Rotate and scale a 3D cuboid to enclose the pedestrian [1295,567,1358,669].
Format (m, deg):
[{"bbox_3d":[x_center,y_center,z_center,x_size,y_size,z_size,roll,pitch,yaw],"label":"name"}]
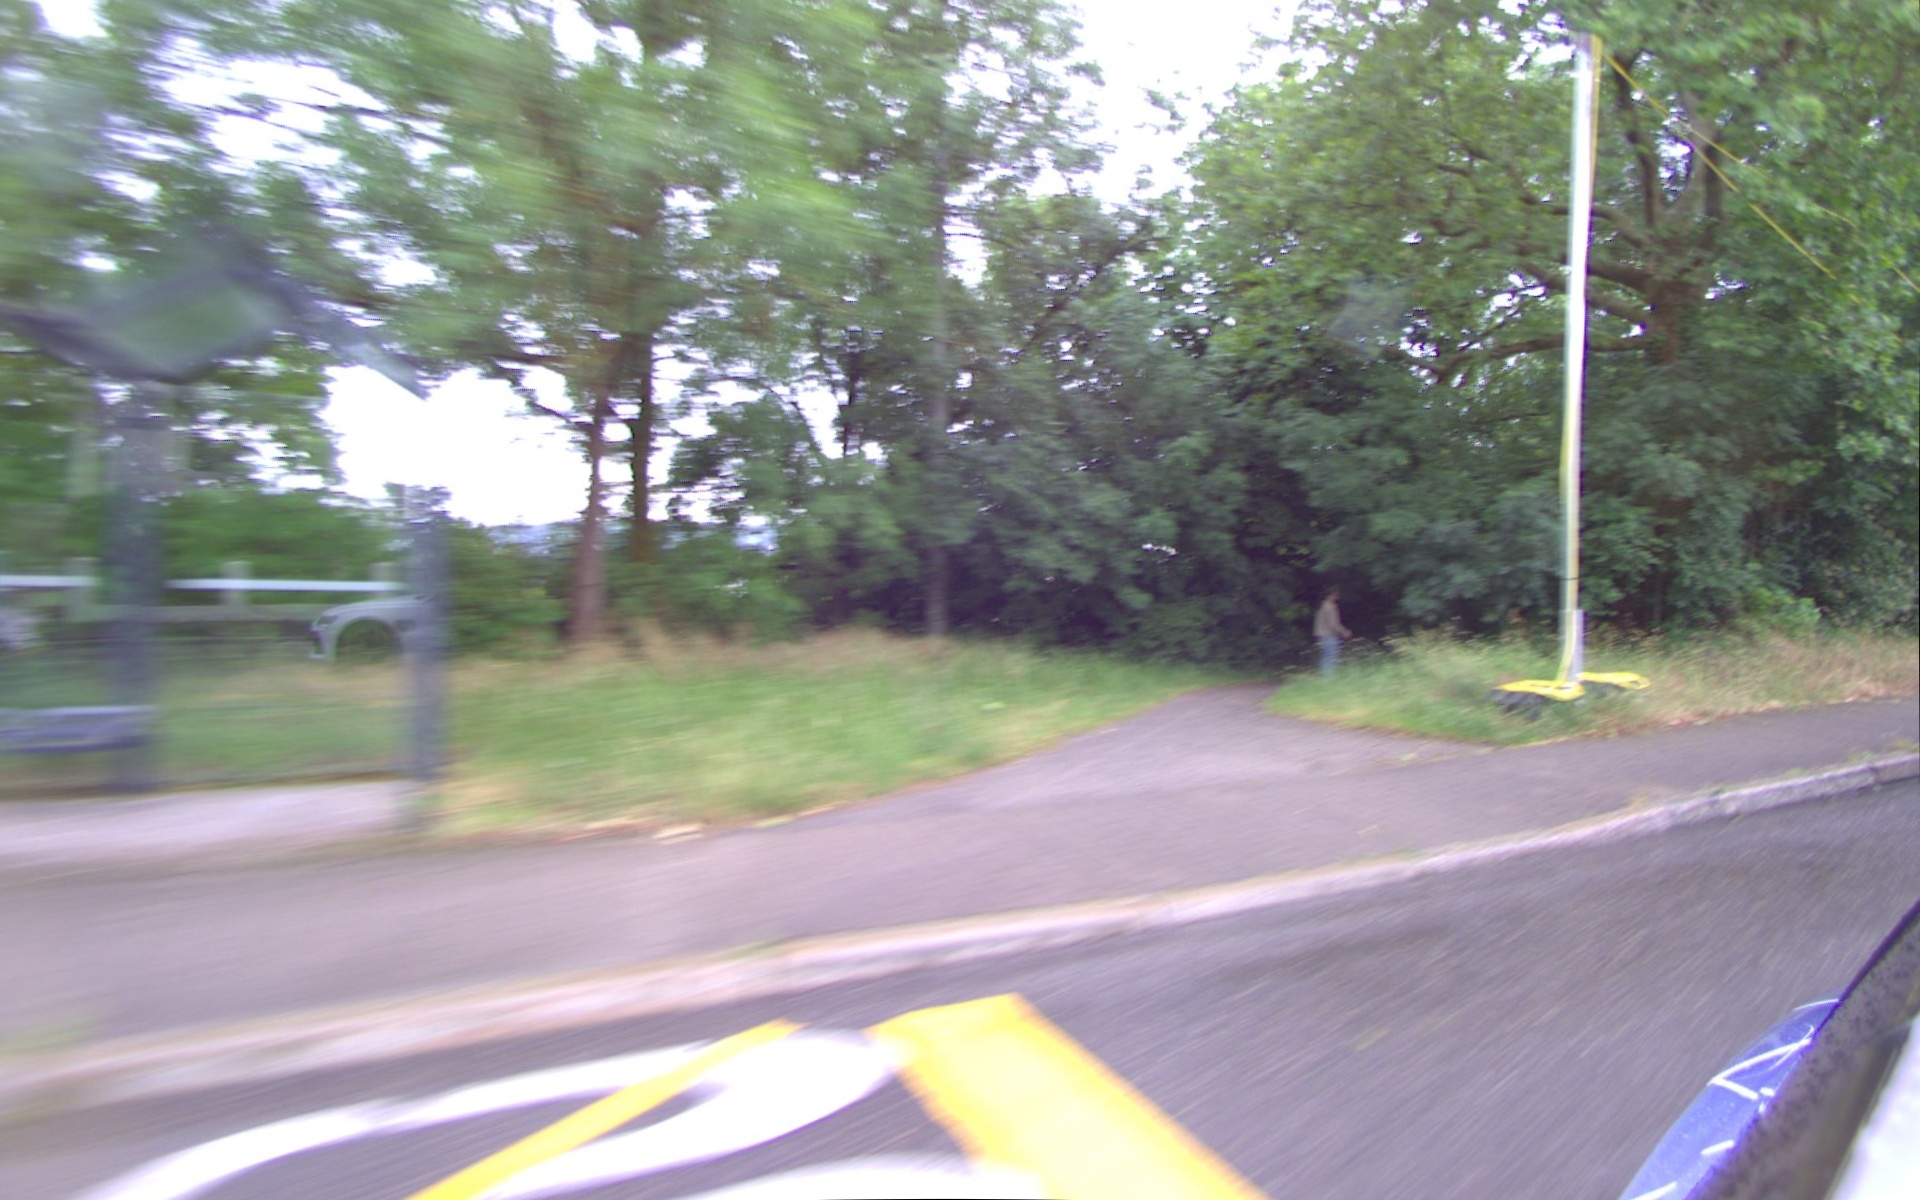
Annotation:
[{"bbox_3d":[6.062,0.275,16.733,0.730,1.624,0.740,0,1,45],"label":"pedestrian"}]
